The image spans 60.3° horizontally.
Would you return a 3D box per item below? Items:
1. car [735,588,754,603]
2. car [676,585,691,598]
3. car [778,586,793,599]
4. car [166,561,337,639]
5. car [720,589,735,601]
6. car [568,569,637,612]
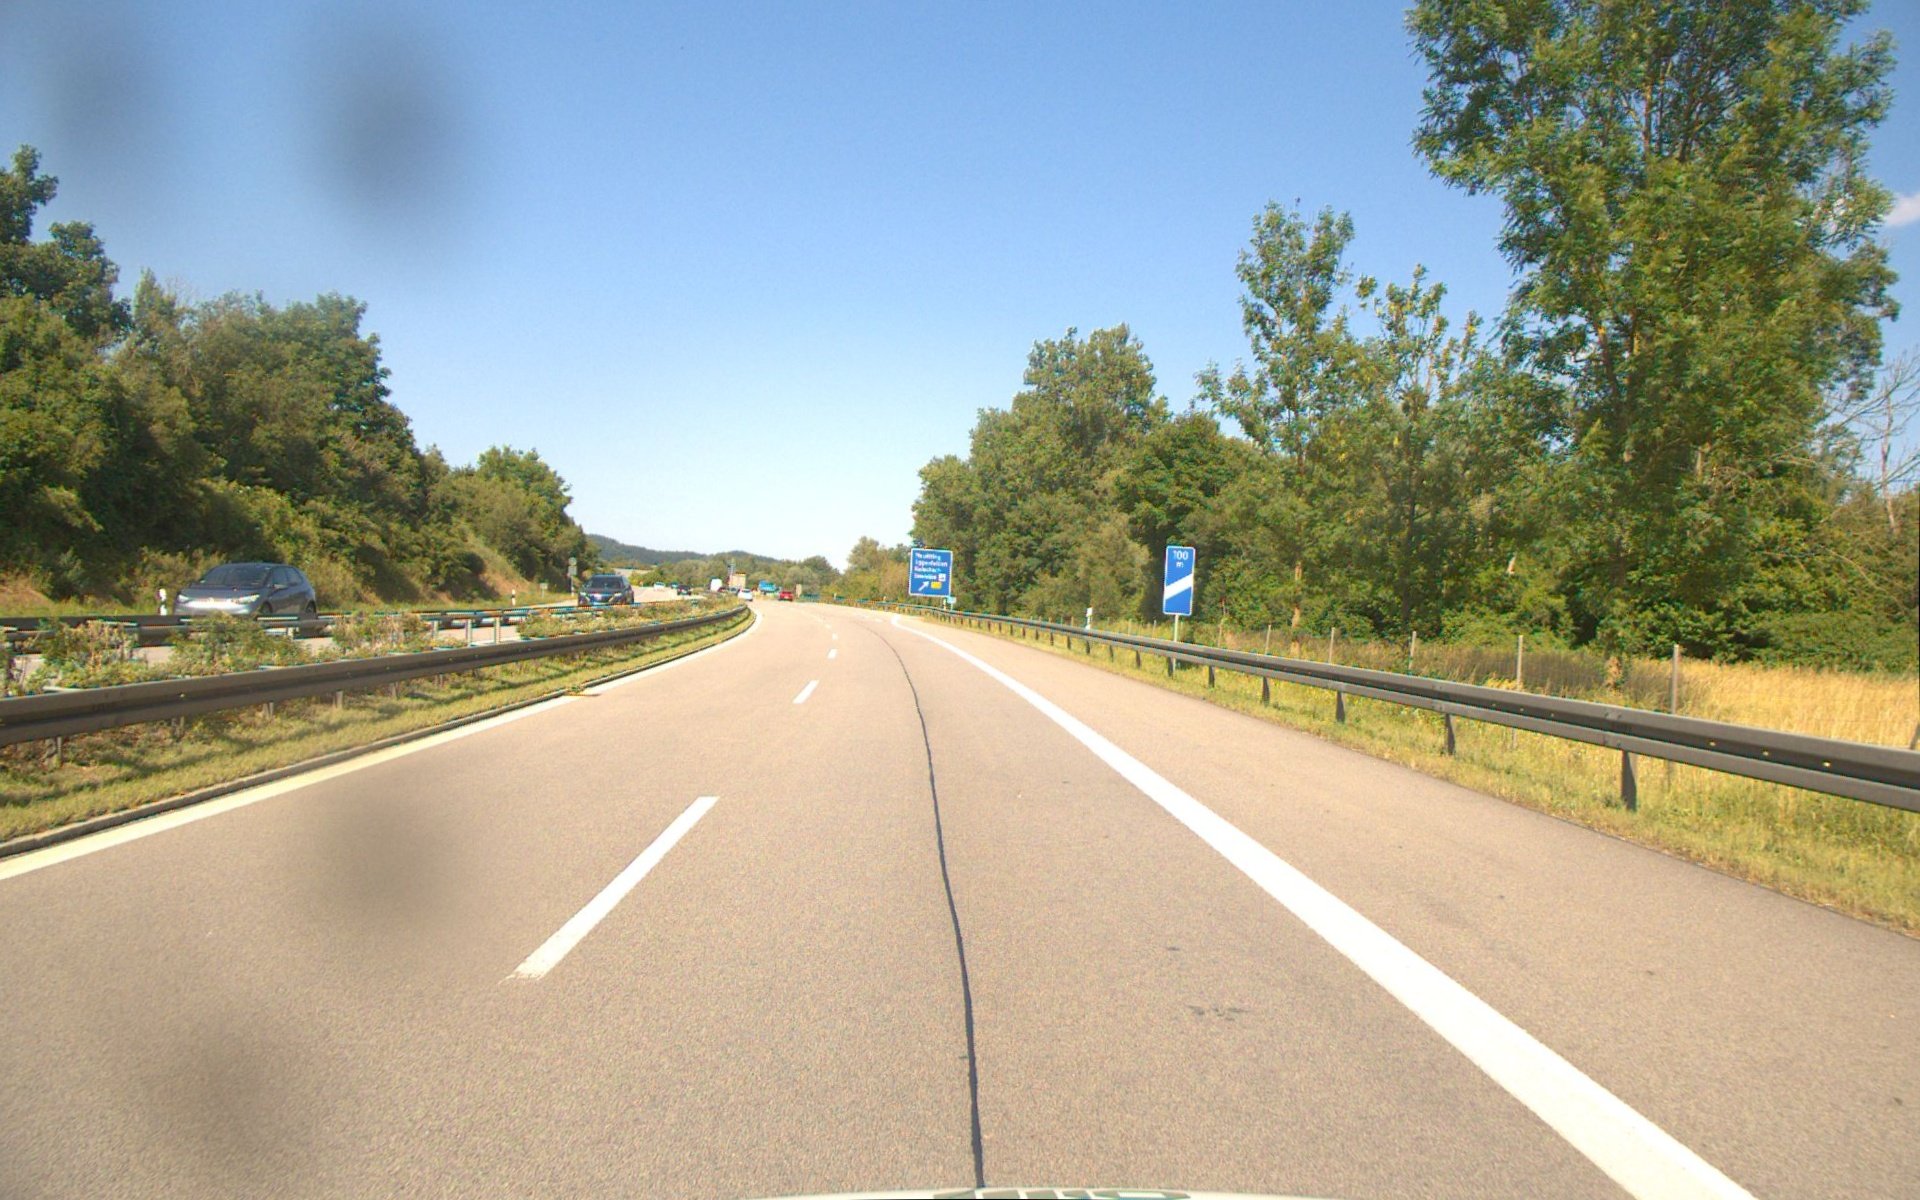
[{"bbox_3d":[-26.012,-0.540,199.411,2.025,1.653,3.989,2,-2,-11],"label":"car"},{"bbox_3d":[-35.798,-1.100,213.995,1.613,1.480,4.899,2,-1,-7],"label":"car"},{"bbox_3d":[-23.421,-1.022,222.288,1.750,1.456,3.995,6,-1,-5],"label":"car"},{"bbox_3d":[-15.150,-0.005,35.649,1.783,1.506,4.683,2,0,-2],"label":"car"},{"bbox_3d":[-33.923,-0.748,240.985,1.958,1.780,3.990,1,0,-11],"label":"car"},{"bbox_3d":[-14.564,-0.390,67.650,2.027,1.708,4.884,0,0,-3],"label":"car"}]
